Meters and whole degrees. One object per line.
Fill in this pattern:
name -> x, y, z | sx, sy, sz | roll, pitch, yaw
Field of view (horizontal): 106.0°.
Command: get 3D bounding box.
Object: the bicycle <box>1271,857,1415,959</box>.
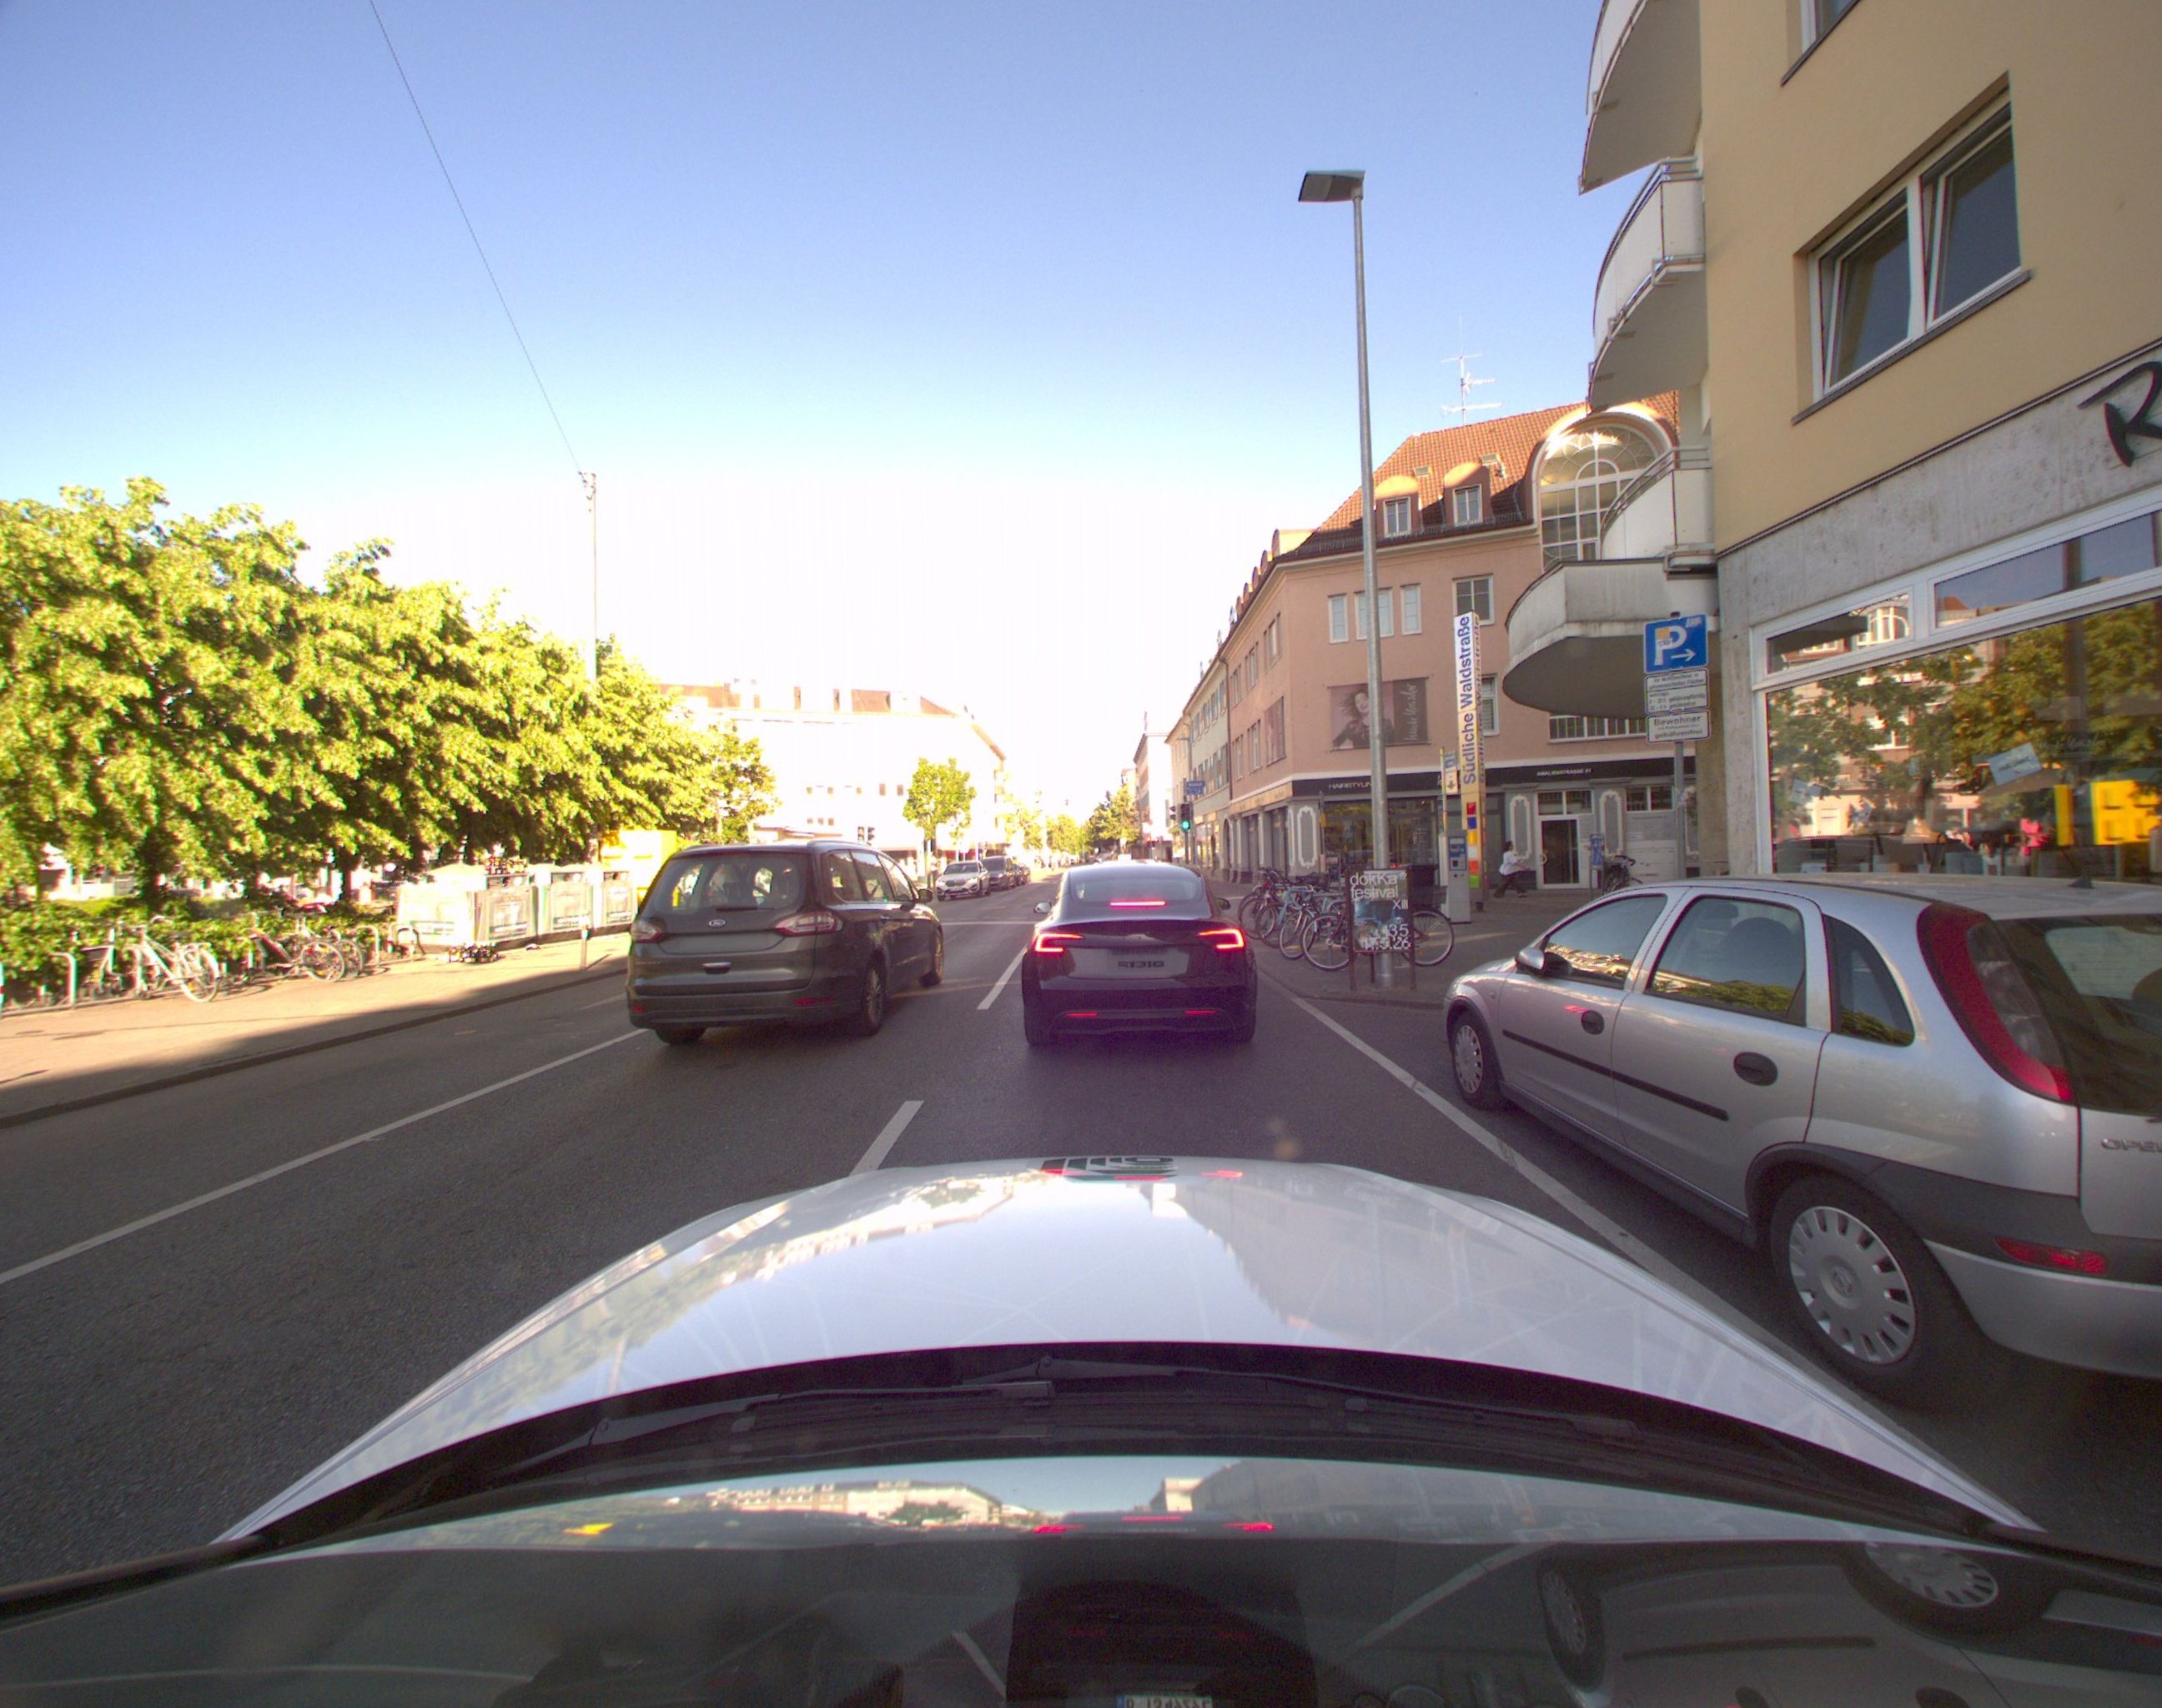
bicycle -> 3.545, 0.724, 11.155 | 1.713, 1.268, 0.792 | -3, -1, 7

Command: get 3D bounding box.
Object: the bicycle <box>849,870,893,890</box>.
bicycle -> -12.946, 1.571, 50.258 | 2.528, 1.156, 0.841 | -1, 0, -4

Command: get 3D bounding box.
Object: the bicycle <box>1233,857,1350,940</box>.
bicycle -> 3.511, 0.726, 13.688 | 1.738, 1.267, 0.782 | -3, -1, 4

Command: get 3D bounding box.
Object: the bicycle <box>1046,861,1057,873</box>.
bicycle -> -3.475, 1.541, 95.791 | 1.108, 1.344, 3.998 | -1, 0, -1

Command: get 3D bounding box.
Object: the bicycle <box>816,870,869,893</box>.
bicycle -> -12.578, 1.438, 43.023 | 2.497, 1.156, 0.843 | -1, 0, 0

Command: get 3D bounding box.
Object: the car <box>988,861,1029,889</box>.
car -> -4.359, 1.232, 49.683 | 1.988, 1.410, 4.672 | -5, 0, -1

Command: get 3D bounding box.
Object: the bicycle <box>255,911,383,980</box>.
bicycle -> -11.379, 1.357, 12.181 | 1.517, 0.958, 0.431 | -1, 1, 3

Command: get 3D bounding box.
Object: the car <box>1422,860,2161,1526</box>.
car -> 2.973, 0.730, 3.526 | 1.607, 1.382, 3.645 | 0, 0, 2

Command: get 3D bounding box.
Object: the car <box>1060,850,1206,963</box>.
car -> 0.743, 0.722, 13.316 | 1.987, 1.512, 4.175 | -1, 0, 0

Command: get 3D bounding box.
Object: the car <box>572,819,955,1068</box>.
car -> -2.710, 0.664, 8.386 | 1.987, 1.772, 4.728 | -2, 0, 1

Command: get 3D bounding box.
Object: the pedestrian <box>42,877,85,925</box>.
pedestrian -> -44.439, 2.029, 35.575 | 1.170, 2.013, 0.936 | -1, 0, 28

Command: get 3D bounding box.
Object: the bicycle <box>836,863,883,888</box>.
bicycle -> -12.903, 1.245, 47.499 | 2.472, 1.324, 0.921 | -1, 0, -4

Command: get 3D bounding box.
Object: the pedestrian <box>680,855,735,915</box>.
pedestrian -> -12.779, 1.055, 27.883 | 1.388, 2.013, 0.908 | -1, 0, 14

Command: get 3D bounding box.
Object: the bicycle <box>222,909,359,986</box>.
bicycle -> -11.315, 1.333, 11.672 | 1.561, 1.023, 0.430 | -1, 0, 3

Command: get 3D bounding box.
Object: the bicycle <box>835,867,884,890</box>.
bicycle -> -12.372, 1.366, 45.552 | 2.453, 1.156, 0.843 | -1, 0, 0

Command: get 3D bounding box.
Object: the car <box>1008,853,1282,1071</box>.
car -> 0.502, 0.756, 7.608 | 1.841, 1.455, 4.001 | -2, 0, 2

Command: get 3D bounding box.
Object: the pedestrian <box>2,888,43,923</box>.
pedestrian -> -63.412, 3.059, 48.791 | 1.269, 2.014, 1.284 | -1, -1, 28

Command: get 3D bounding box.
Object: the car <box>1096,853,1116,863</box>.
car -> 5.124, 0.847, 167.677 | 3.974, 2.013, 2.000 | -1, 0, 0

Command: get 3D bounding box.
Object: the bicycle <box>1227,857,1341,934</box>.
bicycle -> 3.625, 0.738, 14.717 | 1.851, 1.258, 0.834 | -3, -1, 7

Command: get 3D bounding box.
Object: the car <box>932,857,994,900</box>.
car -> -4.936, 0.987, 34.727 | 1.800, 1.555, 4.311 | -5, 0, 1

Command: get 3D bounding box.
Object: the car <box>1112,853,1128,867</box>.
car -> 4.820, 0.712, 100.905 | 1.986, 1.629, 4.002 | -2, 0, 2

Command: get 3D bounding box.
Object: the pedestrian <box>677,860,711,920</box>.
pedestrian -> -11.328, 1.047, 23.845 | 0.541, 1.728, 0.679 | -2, -1, 33

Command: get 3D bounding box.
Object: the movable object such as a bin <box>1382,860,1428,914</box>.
movable object such as a bin -> 6.756, 0.675, 16.983 | 0.730, 1.092, 0.628 | 0, -1, 3

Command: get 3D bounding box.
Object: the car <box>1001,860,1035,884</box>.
car -> -4.389, 1.256, 57.280 | 1.988, 1.436, 4.672 | -5, 0, -1

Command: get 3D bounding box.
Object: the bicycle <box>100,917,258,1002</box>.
bicycle -> -11.451, 1.328, 10.353 | 1.590, 1.018, 0.430 | -1, 0, 3

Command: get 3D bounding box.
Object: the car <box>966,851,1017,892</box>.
car -> -4.635, 0.865, 42.863 | 1.827, 1.845, 4.677 | -5, 0, 2

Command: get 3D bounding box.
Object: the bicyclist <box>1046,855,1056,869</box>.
bicyclist -> -3.501, 0.926, 95.887 | 1.123, 1.628, 0.965 | -1, 0, -1

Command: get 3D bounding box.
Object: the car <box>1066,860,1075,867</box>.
car -> -2.482, 2.160, 187.373 | 1.988, 1.637, 3.998 | -1, 0, -1

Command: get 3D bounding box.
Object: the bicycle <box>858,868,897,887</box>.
bicycle -> -13.162, 1.516, 52.693 | 2.318, 1.156, 0.841 | -1, 0, -4

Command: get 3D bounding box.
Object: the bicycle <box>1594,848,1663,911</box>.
bicycle -> 11.131, 0.482, 16.625 | 0.653, 1.199, 2.223 | -2, 0, 21

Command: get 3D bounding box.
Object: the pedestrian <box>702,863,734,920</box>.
pedestrian -> -10.908, 1.118, 24.465 | 0.676, 1.662, 0.624 | -2, -1, 44

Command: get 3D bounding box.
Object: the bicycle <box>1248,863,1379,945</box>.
bicycle -> 3.525, 0.752, 12.508 | 1.788, 1.124, 0.783 | -3, -1, 7

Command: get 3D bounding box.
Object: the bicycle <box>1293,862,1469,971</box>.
bicycle -> 3.641, 0.750, 10.020 | 1.876, 1.193, 0.693 | -3, 0, 7

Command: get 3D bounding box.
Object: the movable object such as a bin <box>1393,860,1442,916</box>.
movable object such as a bin -> 6.747, 0.669, 16.346 | 0.749, 1.092, 0.628 | 0, -1, 3

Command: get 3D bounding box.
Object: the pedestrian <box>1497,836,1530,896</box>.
pedestrian -> 11.583, 0.319, 21.821 | 0.740, 1.552, 0.703 | -1, 0, 26
